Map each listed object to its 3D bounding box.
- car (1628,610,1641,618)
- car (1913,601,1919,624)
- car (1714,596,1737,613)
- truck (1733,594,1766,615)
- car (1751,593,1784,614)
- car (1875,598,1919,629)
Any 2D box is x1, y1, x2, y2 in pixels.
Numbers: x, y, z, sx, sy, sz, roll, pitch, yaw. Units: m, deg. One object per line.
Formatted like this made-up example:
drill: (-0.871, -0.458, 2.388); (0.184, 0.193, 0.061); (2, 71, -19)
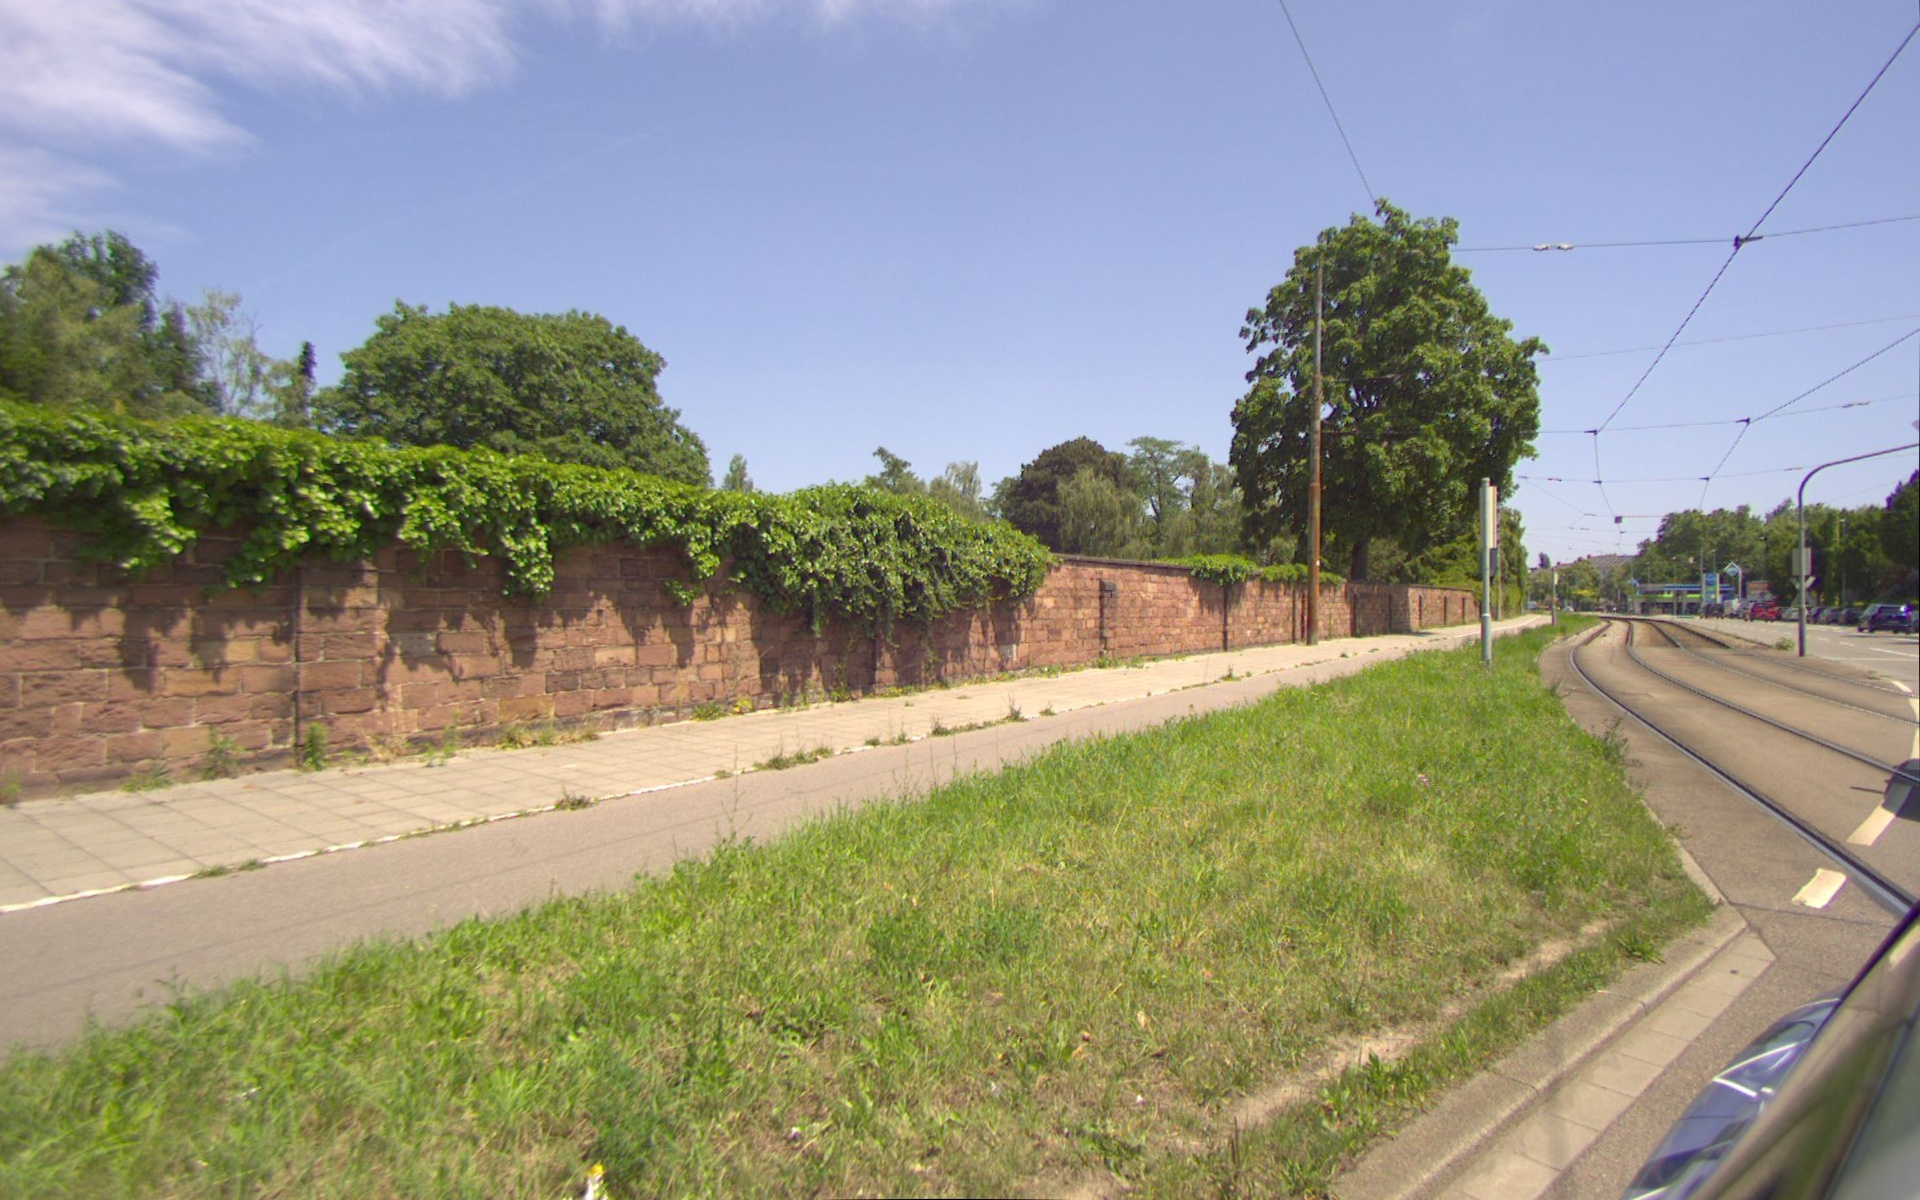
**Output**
car: (134.828, 2.858, 202.288); (1.852, 1.515, 3.430); (-4, -2, 32)
car: (65.210, 0.798, 67.308); (1.668, 1.515, 4.585); (-4, -2, 32)
car: (91.995, 0.509, 121.646); (1.911, 1.934, 4.515); (2, 1, 34)
truck: (102.469, 0.590, 131.386); (2.113, 2.614, 4.821); (-4, -2, 25)
car: (79.257, 0.348, 99.381); (1.891, 1.950, 4.763); (3, 1, 32)
car: (53.354, 0.744, 57.276); (1.731, 1.677, 4.017); (1, 1, 34)
